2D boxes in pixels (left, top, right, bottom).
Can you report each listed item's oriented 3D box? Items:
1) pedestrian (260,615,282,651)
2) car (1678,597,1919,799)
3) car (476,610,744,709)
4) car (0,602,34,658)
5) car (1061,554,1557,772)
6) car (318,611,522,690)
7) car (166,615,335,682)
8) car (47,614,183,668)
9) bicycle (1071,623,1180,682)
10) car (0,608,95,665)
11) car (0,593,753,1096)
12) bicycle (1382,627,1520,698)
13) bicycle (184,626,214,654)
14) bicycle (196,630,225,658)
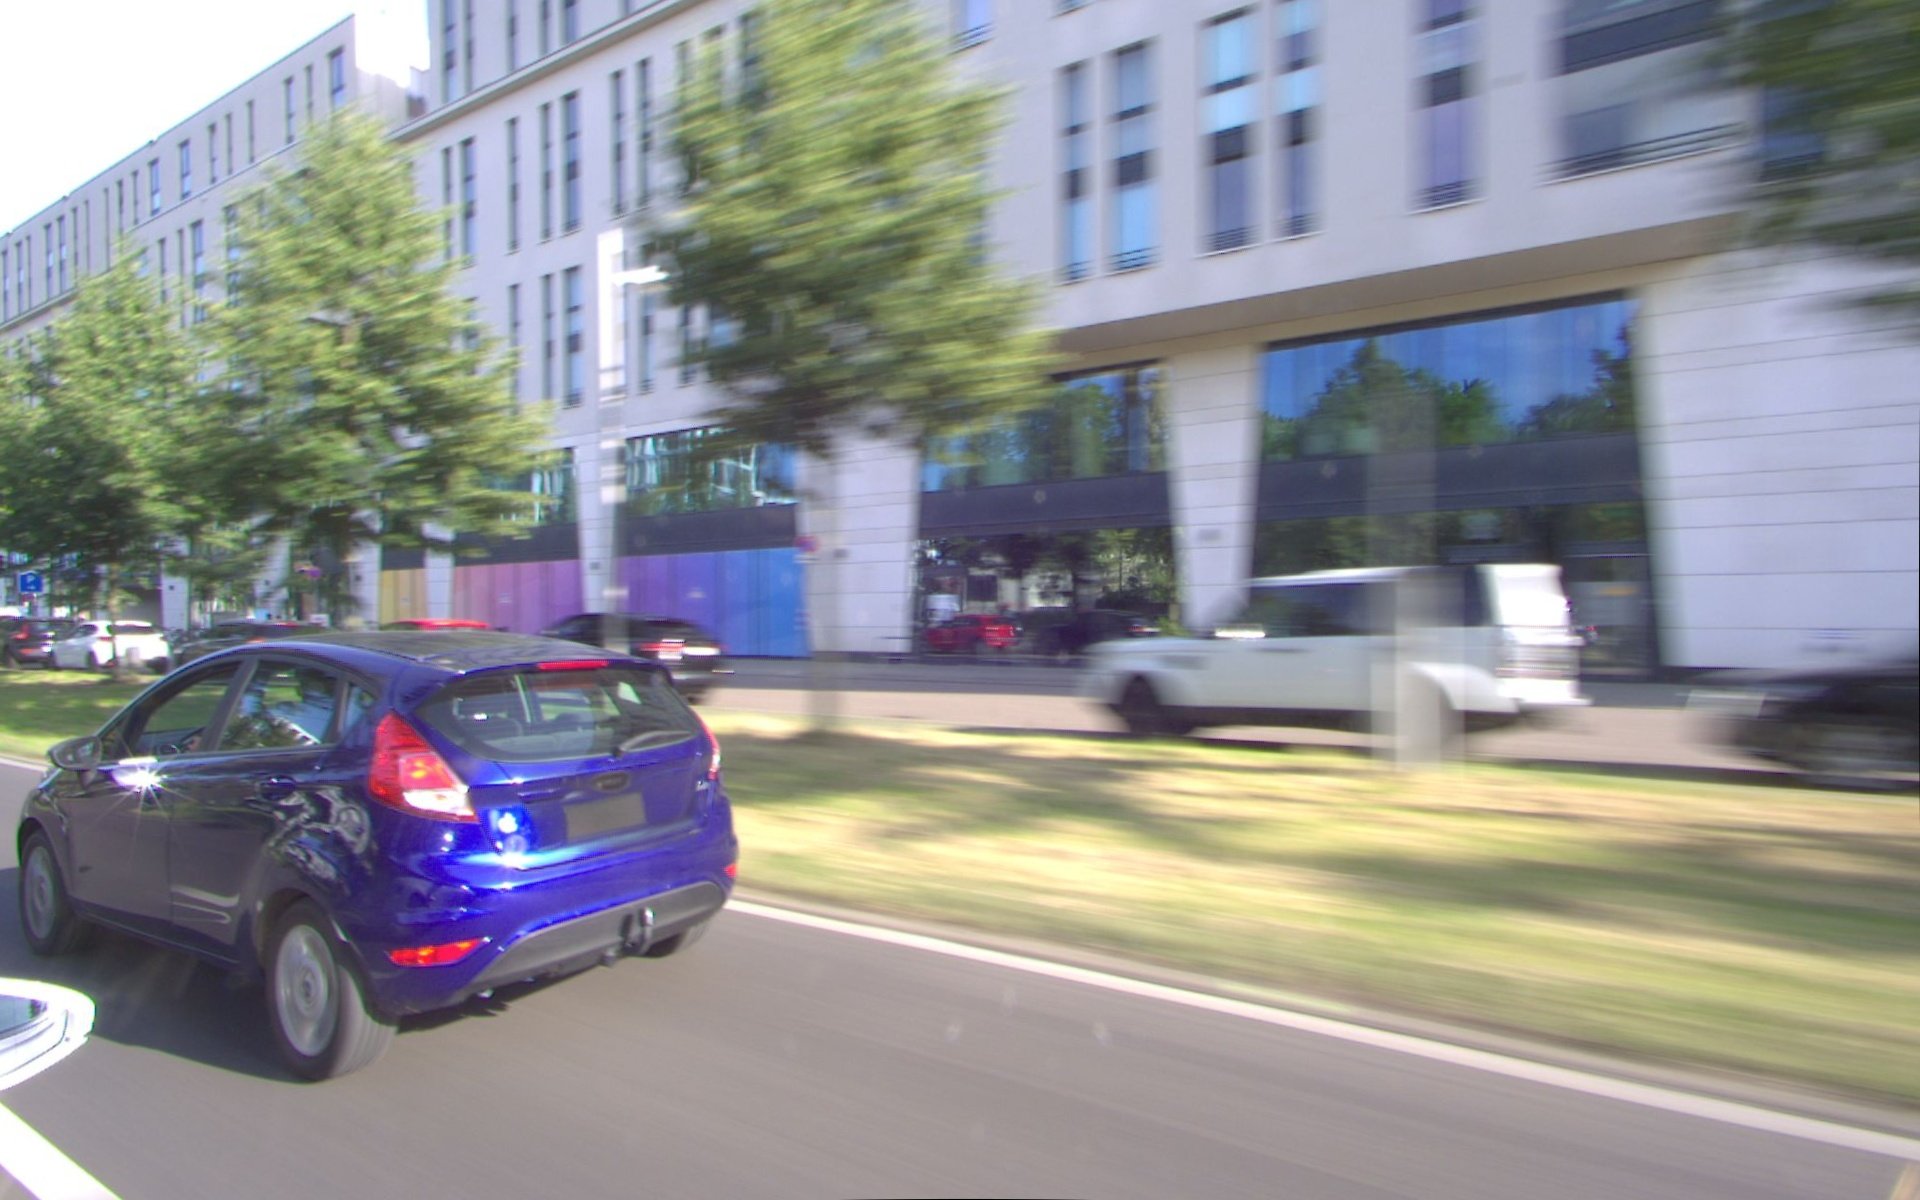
[{"bbox_3d":[-29.627,1.426,43.056,0.509,1.541,0.593,-1,-2,37],"label":"pedestrian"},{"bbox_3d":[8.307,0.751,7.852,4.147,1.506,1.759,-1,-3,30],"label":"car"},{"bbox_3d":[-5.988,0.989,17.074,4.346,1.510,1.867,-1,-3,28],"label":"car"},{"bbox_3d":[-34.676,1.071,35.116,4.956,1.899,1.836,-1,-3,30],"label":"car"},{"bbox_3d":[3.648,0.637,10.818,4.775,1.897,1.892,-1,-3,32],"label":"car"},{"bbox_3d":[-10.903,1.010,20.175,4.053,1.450,1.727,-1,-3,30],"label":"car"},{"bbox_3d":[-16.930,1.146,23.827,4.657,1.450,1.725,-2,-3,34],"label":"car"},{"bbox_3d":[-23.803,1.169,28.182,4.105,1.430,1.615,-1,-3,30],"label":"car"},{"bbox_3d":[3.192,1.007,19.436,2.048,1.084,0.509,-1,1,33],"label":"bicycle"},{"bbox_3d":[-29.103,1.164,31.507,4.279,1.671,1.725,-1,-3,33],"label":"car"},{"bbox_3d":[-2.910,0.776,4.584,3.852,1.442,1.558,-1,-3,32],"label":"car"},{"bbox_3d":[7.957,0.992,16.276,1.956,1.084,0.509,-1,1,33],"label":"bicycle"},{"bbox_3d":[-31.417,1.645,41.334,1.708,1.096,0.343,-1,3,33],"label":"bicycle"},{"bbox_3d":[-31.236,1.828,41.718,1.718,1.096,0.343,-1,3,33],"label":"bicycle"}]
